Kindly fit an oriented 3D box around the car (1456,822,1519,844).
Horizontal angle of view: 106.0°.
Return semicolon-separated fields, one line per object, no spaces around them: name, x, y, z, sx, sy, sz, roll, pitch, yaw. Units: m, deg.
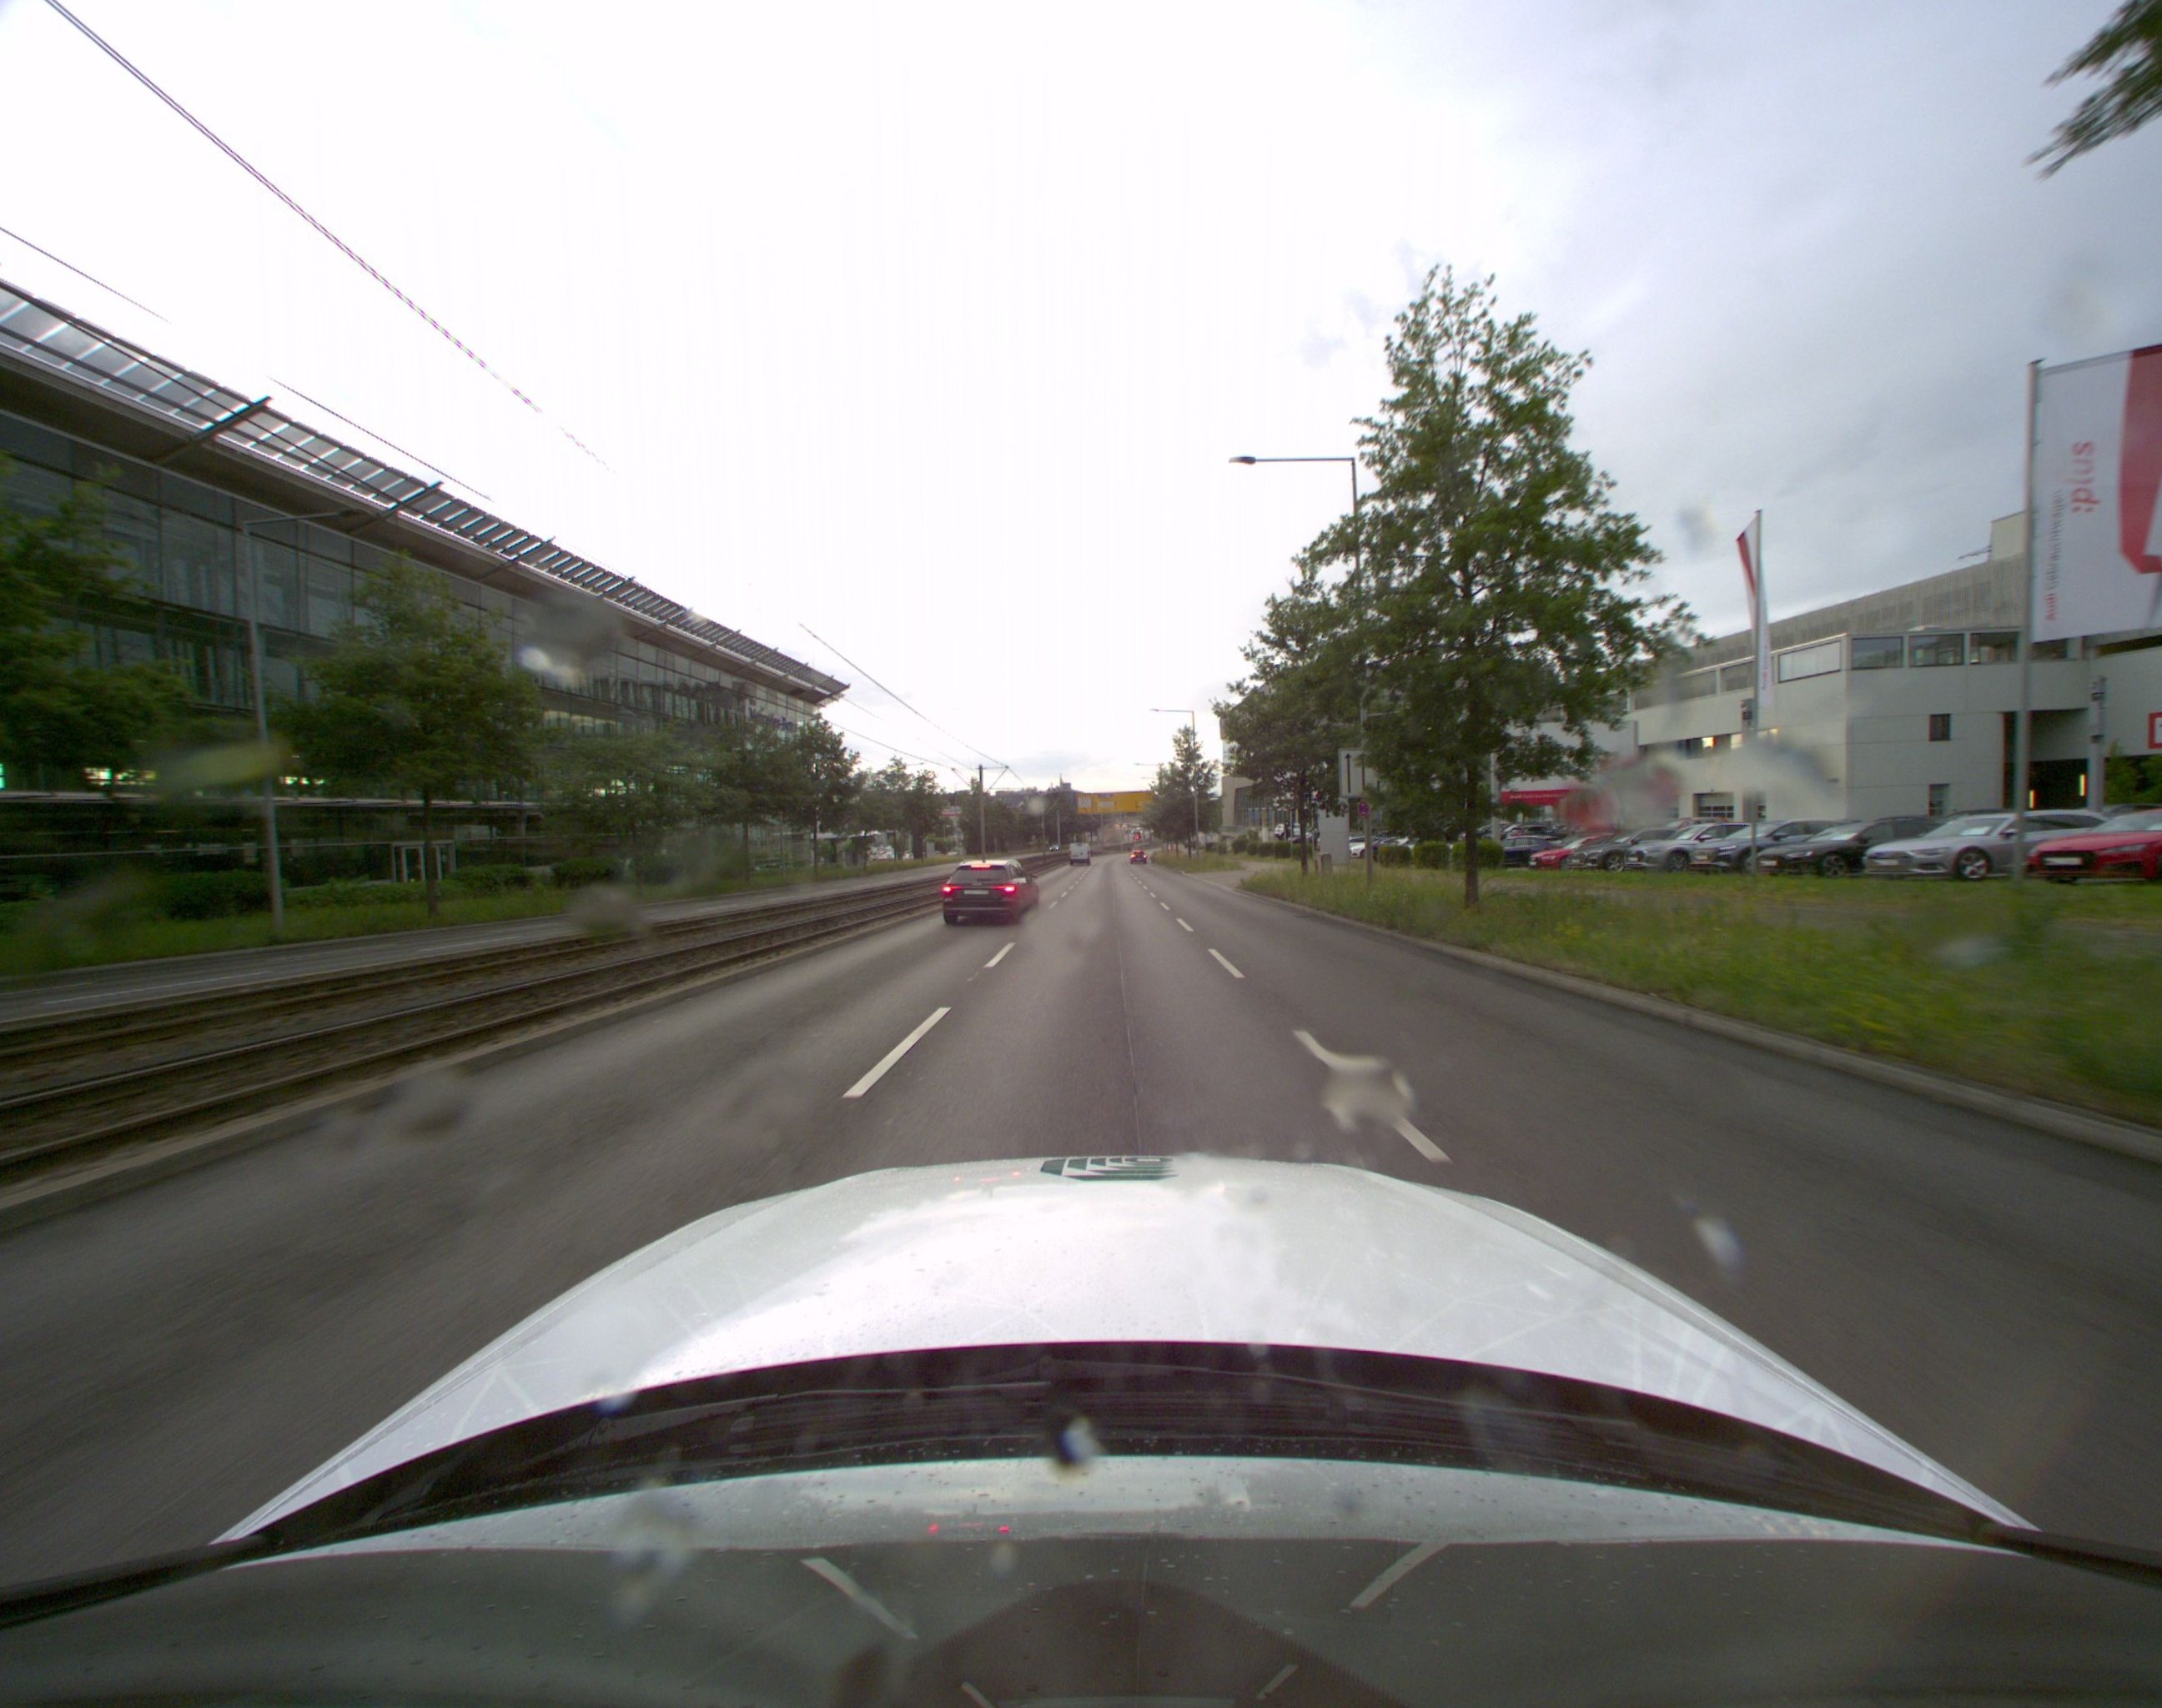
car;31.970;-1.647;64.184;4.091;1.574;1.692;-2;0;0

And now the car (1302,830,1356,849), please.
car;21.072;-1.241;69.233;4.091;1.574;1.693;-1;1;0

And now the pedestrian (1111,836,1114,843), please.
pedestrian;7.817;-3.536;201.173;0.632;1.854;0.753;0;-1;13

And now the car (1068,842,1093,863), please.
car;-0.099;-0.146;85.213;2.503;2.177;5.148;0;0;0

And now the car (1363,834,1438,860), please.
car;20.426;-0.448;52.170;4.091;1.594;1.871;-1;-1;0

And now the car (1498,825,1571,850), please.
car;31.473;-1.118;56.580;4.091;1.574;1.692;-1;-1;0

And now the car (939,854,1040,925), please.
car;-2.057;0.760;19.600;1.757;1.463;4.629;0;0;2

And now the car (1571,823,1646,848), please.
car;36.683;-1.266;56.715;4.090;1.574;1.693;-2;0;1

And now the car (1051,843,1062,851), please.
car;-5.158;-1.547;173.430;1.874;1.520;4.409;-5;1;4

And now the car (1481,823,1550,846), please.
car;31.519;-1.411;59.172;4.091;1.574;1.693;-1;0;0

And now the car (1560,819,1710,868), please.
car;20.229;-0.364;29.866;4.264;1.593;1.826;-2;-1;-1

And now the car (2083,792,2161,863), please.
car;25.710;-0.648;18.140;4.448;1.551;1.930;-2;-1;-1

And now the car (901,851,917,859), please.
car;-34.120;0.240;161.915;2.006;1.510;3.962;0;0;-30

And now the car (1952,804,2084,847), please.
car;41.324;-1.234;35.989;1.778;1.593;3.527;-4;1;-30

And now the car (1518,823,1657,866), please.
car;20.457;-0.371;33.009;4.451;1.551;1.929;-2;-1;-4

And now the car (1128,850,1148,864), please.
car;6.326;0.337;90.600;2.015;1.623;3.999;0;0;0

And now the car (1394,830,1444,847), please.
car;31.950;-1.464;77.069;4.091;1.574;1.693;-1;1;0

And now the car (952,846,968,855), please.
car;-22.246;-0.703;149.930;1.983;1.650;4.008;0;0;7

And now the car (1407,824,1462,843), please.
car;31.202;-1.843;72.044;4.091;1.574;1.826;-1;1;0

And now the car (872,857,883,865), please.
car;-39.590;1.402;158.460;1.757;1.494;3.974;0;0;-19

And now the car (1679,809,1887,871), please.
car;20.633;-0.391;24.076;4.446;1.528;1.931;-3;-1;0

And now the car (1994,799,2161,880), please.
car;20.098;-0.344;14.979;4.382;1.348;1.931;-3;-1;0

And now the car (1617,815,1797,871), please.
car;20.689;-0.348;27.058;4.446;1.551;1.931;-3;-1;0

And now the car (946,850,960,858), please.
car;-25.967;0.013;165.057;2.002;1.510;3.969;0;0;-24

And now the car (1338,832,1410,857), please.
car;20.997;-0.674;58.426;4.504;1.594;1.692;-2;-1;0

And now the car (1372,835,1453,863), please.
car;20.045;-0.308;49.317;4.101;1.594;1.944;-1;-1;-7

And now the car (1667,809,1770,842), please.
car;38.199;-1.700;48.918;4.505;1.855;2.003;-1;0;5

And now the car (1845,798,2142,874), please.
car;20.263;-0.384;18.247;4.446;1.456;1.931;-2;-1;0

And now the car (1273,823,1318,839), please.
car;22.281;-2.360;84.804;4.245;1.574;1.693;-1;1;0

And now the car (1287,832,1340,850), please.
car;21.237;-1.213;74.589;4.405;1.574;1.693;-1;1;0

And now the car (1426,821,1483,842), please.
car;31.625;-1.915;69.001;4.091;1.574;1.693;-2;1;0

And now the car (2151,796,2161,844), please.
car;38.064;-1.216;26.454;4.264;1.593;1.826;-2;-1;-1

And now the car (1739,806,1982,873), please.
car;20.220;-0.359;21.281;4.446;1.456;1.931;-3;-1;0

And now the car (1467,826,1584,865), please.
car;20.209;-0.372;37.203;1.843;1.593;4.319;-2;-1;-29

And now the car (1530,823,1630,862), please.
car;23.300;-0.514;38.126;1.778;1.593;3.527;-4;1;-30

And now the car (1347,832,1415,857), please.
car;20.793;-0.640;56.463;4.091;1.594;1.692;-1;-1;0
